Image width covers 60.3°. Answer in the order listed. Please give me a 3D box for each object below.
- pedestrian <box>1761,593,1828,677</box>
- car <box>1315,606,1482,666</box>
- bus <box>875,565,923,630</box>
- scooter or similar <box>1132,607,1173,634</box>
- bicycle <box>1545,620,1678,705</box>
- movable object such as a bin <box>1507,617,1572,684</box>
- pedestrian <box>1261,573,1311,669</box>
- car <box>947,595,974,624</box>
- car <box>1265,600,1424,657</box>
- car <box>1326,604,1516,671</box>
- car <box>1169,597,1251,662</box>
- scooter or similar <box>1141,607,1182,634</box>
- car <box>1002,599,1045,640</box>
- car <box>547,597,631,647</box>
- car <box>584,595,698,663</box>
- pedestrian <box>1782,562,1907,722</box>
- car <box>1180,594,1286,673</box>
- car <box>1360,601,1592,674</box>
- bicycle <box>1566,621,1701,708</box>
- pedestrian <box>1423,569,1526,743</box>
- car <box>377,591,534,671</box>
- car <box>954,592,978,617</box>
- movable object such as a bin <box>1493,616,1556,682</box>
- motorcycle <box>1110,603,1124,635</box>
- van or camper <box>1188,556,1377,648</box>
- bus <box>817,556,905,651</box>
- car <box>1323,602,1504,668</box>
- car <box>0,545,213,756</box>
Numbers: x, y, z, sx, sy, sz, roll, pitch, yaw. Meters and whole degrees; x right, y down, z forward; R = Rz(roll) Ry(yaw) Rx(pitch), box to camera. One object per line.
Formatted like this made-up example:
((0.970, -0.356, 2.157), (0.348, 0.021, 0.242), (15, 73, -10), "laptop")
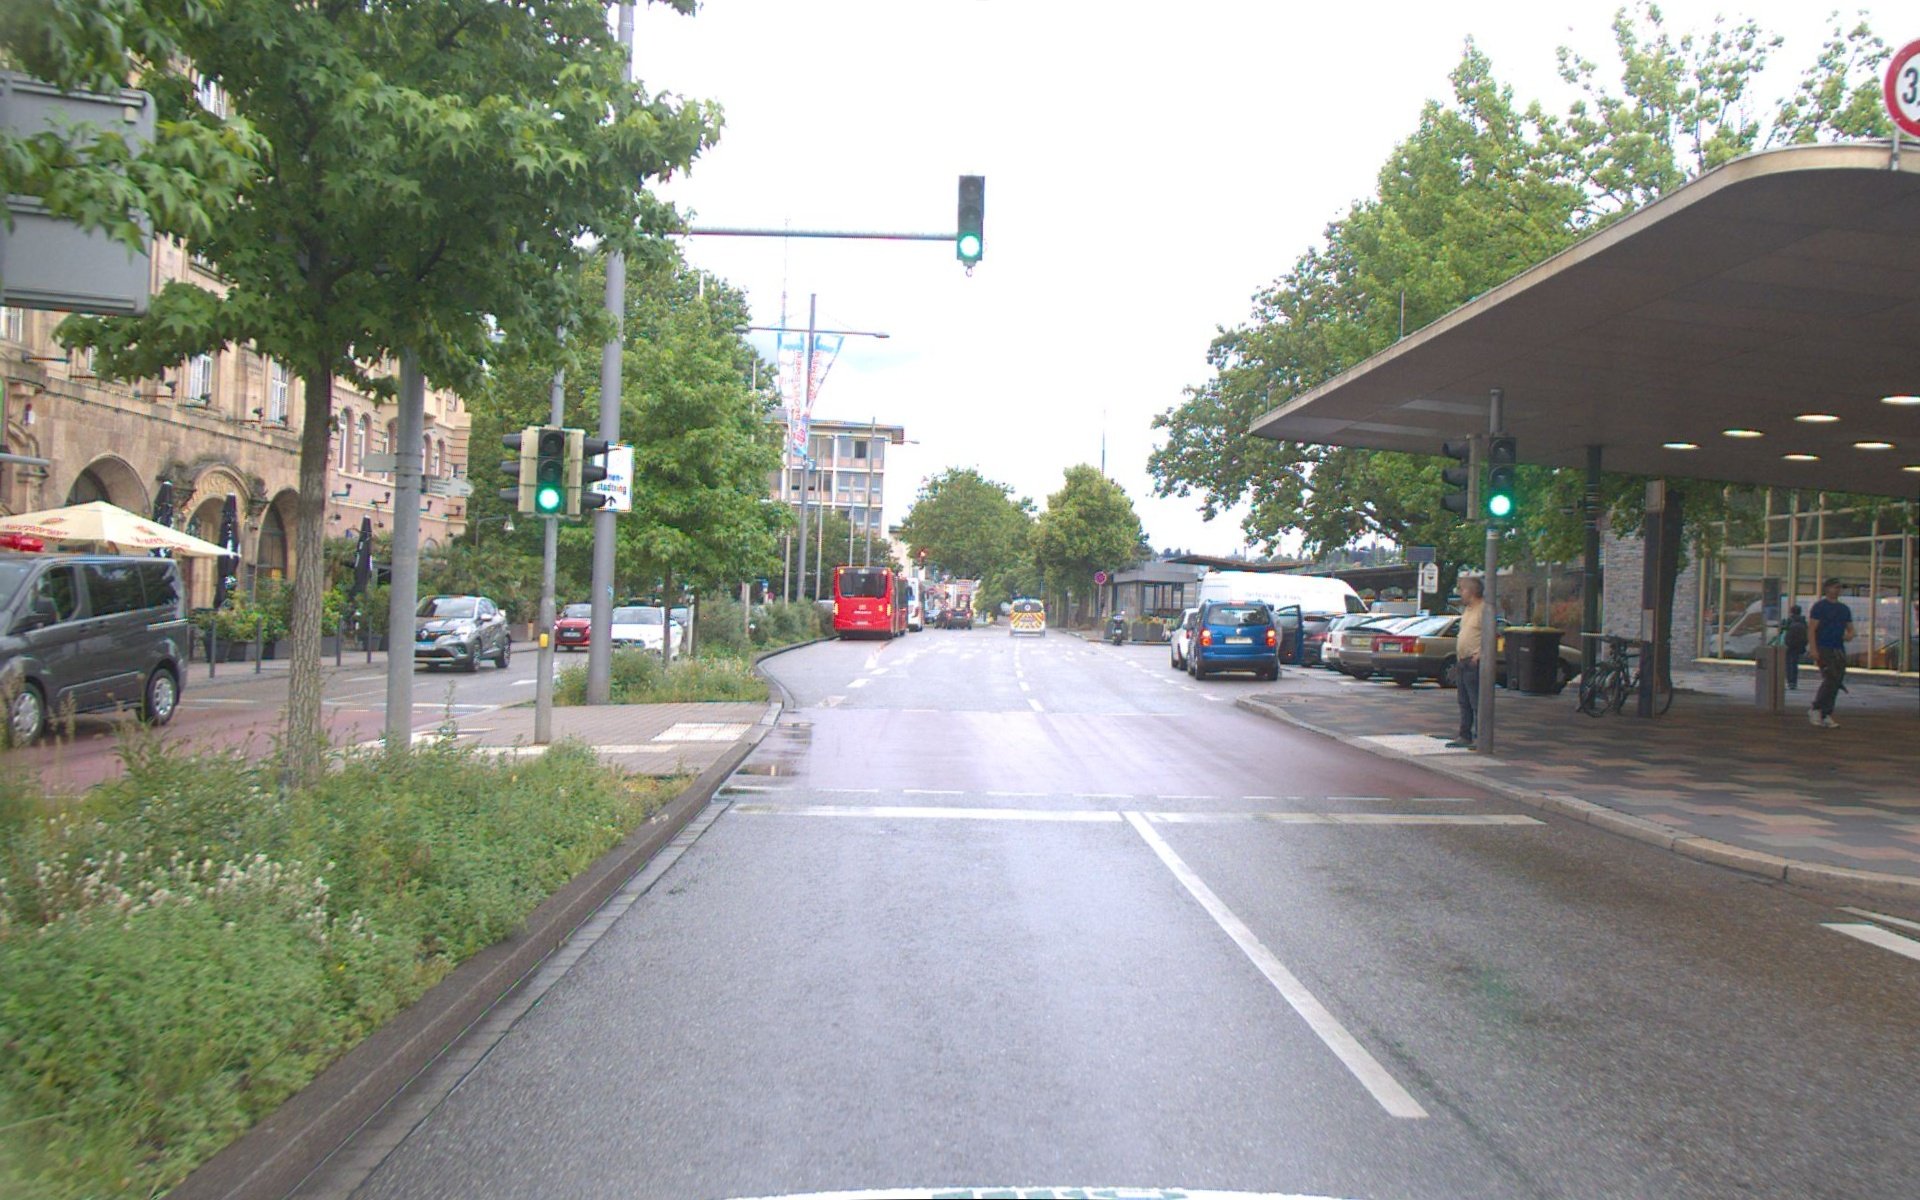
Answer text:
((16.237, 0.673, 32.191), (0.849, 1.586, 0.813), (-1, 0, -8), "pedestrian")
((11.140, 0.906, 42.005), (3.940, 1.468, 1.848), (1, -1, -28), "car")
((-3.835, -0.119, 103.730), (2.749, 3.812, 10.440), (1, 0, -2), "bus")
((8.434, 0.887, 72.451), (2.131, 1.129, 0.421), (0, 0, -41), "scooter or similar")
((8.690, 0.826, 22.051), (1.800, 1.074, 0.418), (-1, 0, -19), "bicycle")
((9.634, 0.825, 27.499), (0.737, 1.086, 0.747), (-1, 0, -10), "movable object such as a bin")
((7.076, 0.455, 35.912), (0.815, 2.049, 0.888), (-1, 0, -5), "pedestrian")
((0.003, 0.715, 122.958), (1.953, 2.049, 3.999), (-1, 0, 0), "car")
((10.381, 0.757, 44.631), (3.940, 1.468, 1.848), (1, -1, -28), "car")
((10.075, 0.799, 36.078), (3.947, 1.383, 1.845), (1, -1, -32), "car")
((6.220, 0.724, 41.426), (1.750, 1.549, 3.683), (0, -1, 4), "car")
((8.774, 0.877, 72.089), (2.131, 1.129, 0.437), (0, 0, -41), "scooter or similar")
((3.326, 1.002, 86.982), (1.953, 2.049, 5.060), (-1, 0, -1), "car")
((-11.376, 0.650, 50.904), (1.711, 1.455, 3.952), (-1, 0, 0), "car")
((-7.870, 0.681, 41.192), (1.953, 1.570, 4.632), (-1, 0, 0), "car")
((10.649, 0.496, 19.951), (0.839, 1.867, 1.189), (0, -1, -1), "pedestrian")
((5.784, 0.704, 35.463), (1.820, 1.596, 4.001), (0, -1, 3), "car")
((10.097, 0.726, 32.413), (4.124, 1.348, 1.829), (1, -1, -21), "car")
((8.805, 0.834, 21.605), (1.800, 1.074, 0.418), (-1, 0, -19), "bicycle")
((5.400, 0.579, 17.387), (0.732, 1.777, 0.834), (0, -1, -9), "pedestrian")
((-10.734, 0.627, 35.564), (1.953, 1.570, 4.632), (-1, 0, 0), "car")
((0.514, 0.372, 138.520), (1.953, 2.049, 3.999), (-1, 0, 0), "car")
((9.742, 0.833, 28.538), (0.738, 1.114, 0.746), (-1, 0, -13), "movable object such as a bin")
((6.615, 0.793, 69.707), (0.582, 1.310, 1.954), (0, 0, 5), "motorcycle")
((10.328, 0.046, 52.885), (5.878, 2.811, 2.178), (-1, 0, -28), "van or camper")
((-4.449, 0.168, 76.922), (3.472, 4.049, 11.170), (-1, 0, 0), "bus")
((10.625, 0.806, 38.730), (3.940, 1.468, 1.848), (1, -1, -28), "car")
((-10.301, 0.512, 18.037), (1.952, 2.049, 5.001), (-1, 0, 1), "car")
